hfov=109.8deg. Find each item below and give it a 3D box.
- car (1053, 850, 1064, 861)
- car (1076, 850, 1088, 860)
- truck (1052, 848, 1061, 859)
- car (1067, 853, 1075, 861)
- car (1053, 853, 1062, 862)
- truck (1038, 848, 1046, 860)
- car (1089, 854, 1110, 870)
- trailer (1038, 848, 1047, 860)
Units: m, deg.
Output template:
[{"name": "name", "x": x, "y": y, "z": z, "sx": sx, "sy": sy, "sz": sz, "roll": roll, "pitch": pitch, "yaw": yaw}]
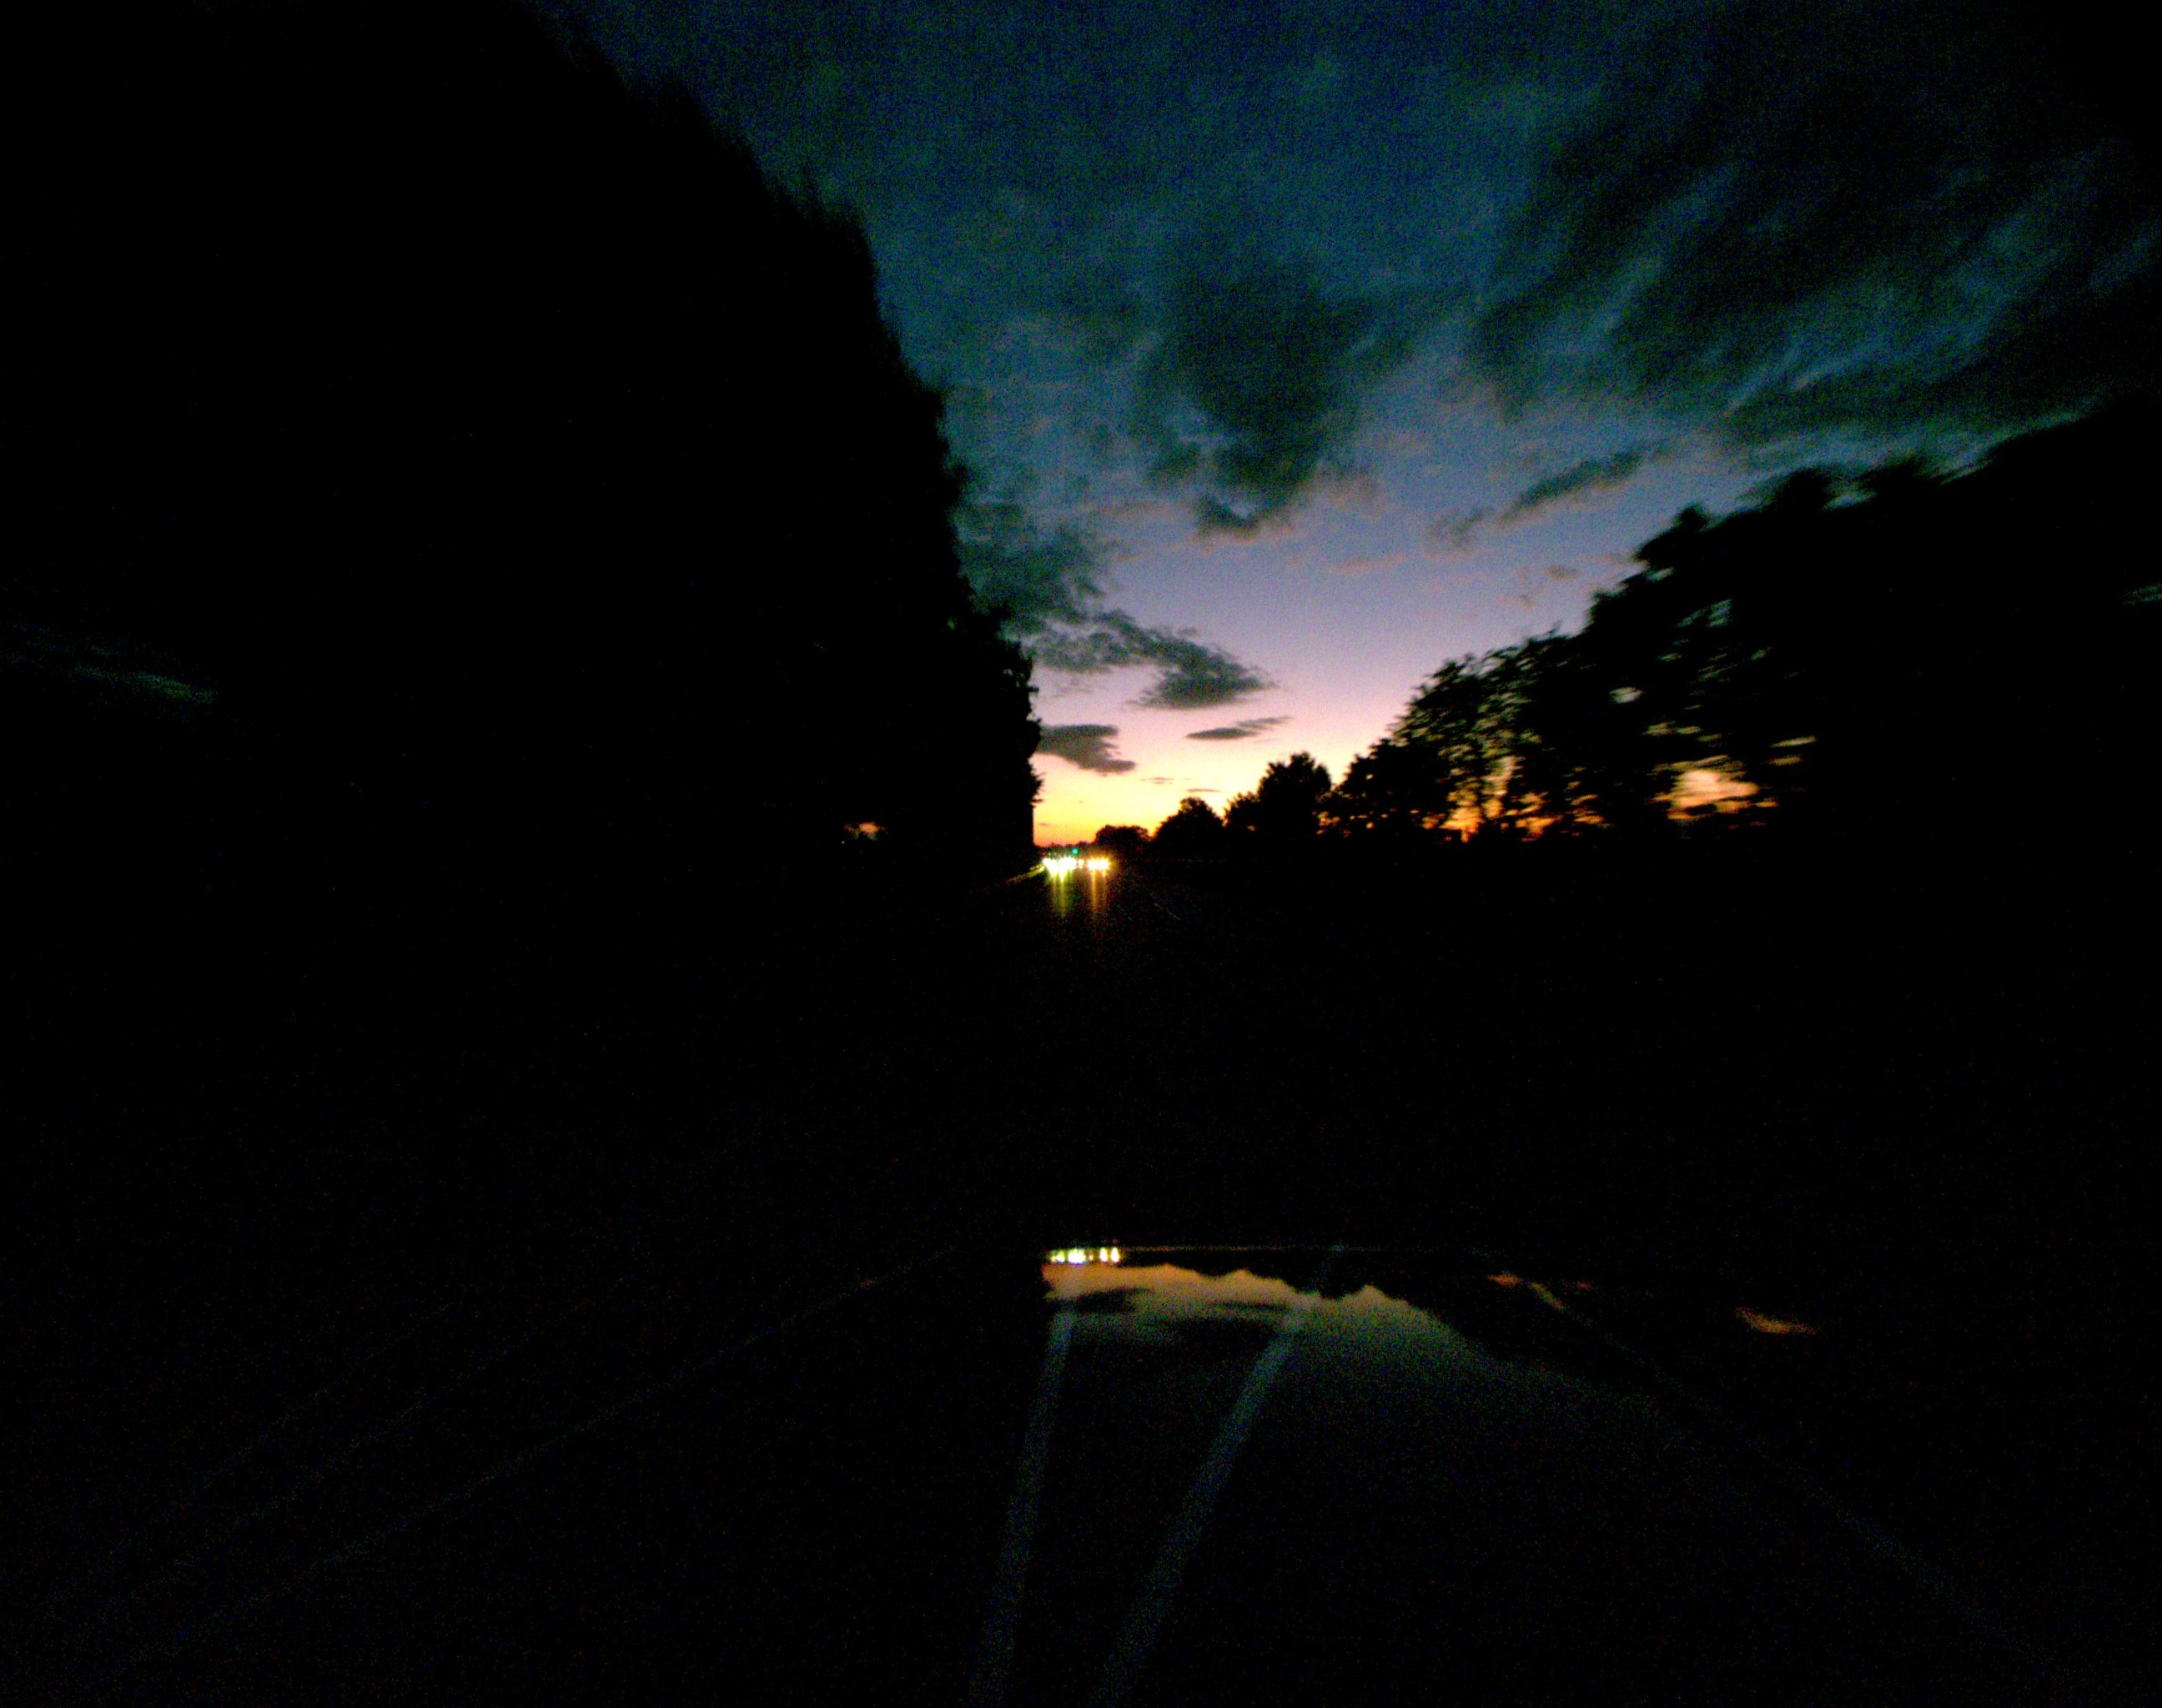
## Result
[{"name": "car", "x": -4.062, "y": 0.309, "z": 137.827, "sx": 1.741, "sy": 2.002, "sz": 3.999, "roll": -2, "pitch": 0, "yaw": -1}, {"name": "car", "x": 0.106, "y": 0.227, "z": 144.380, "sx": 1.999, "sy": 1.778, "sz": 3.999, "roll": -2, "pitch": 0, "yaw": -2}, {"name": "truck", "x": -8.197, "y": -0.123, "z": 257.617, "sx": 3.016, "sy": 3.674, "sz": 9.056, "roll": -2, "pitch": 0, "yaw": -1}, {"name": "car", "x": -2.530, "y": 0.813, "z": 199.749, "sx": 1.999, "sy": 2.002, "sz": 3.999, "roll": -2, "pitch": 0, "yaw": 0}, {"name": "car", "x": -5.653, "y": 0.844, "z": 183.872, "sx": 1.999, "sy": 2.002, "sz": 3.999, "roll": -2, "pitch": 0, "yaw": -1}, {"name": "truck", "x": -12.372, "y": 0.053, "z": 241.429, "sx": 2.491, "sy": 3.778, "sz": 5.497, "roll": -2, "pitch": 1, "yaw": -1}, {"name": "car", "x": 1.943, "y": 0.813, "z": 81.127, "sx": 1.999, "sy": 1.635, "sz": 4.296, "roll": -2, "pitch": 0, "yaw": -1}, {"name": "trailer", "x": -12.545, "y": 0.016, "z": 248.793, "sx": 2.475, "sy": 3.789, "sz": 12.669, "roll": -2, "pitch": 0, "yaw": -1}]
